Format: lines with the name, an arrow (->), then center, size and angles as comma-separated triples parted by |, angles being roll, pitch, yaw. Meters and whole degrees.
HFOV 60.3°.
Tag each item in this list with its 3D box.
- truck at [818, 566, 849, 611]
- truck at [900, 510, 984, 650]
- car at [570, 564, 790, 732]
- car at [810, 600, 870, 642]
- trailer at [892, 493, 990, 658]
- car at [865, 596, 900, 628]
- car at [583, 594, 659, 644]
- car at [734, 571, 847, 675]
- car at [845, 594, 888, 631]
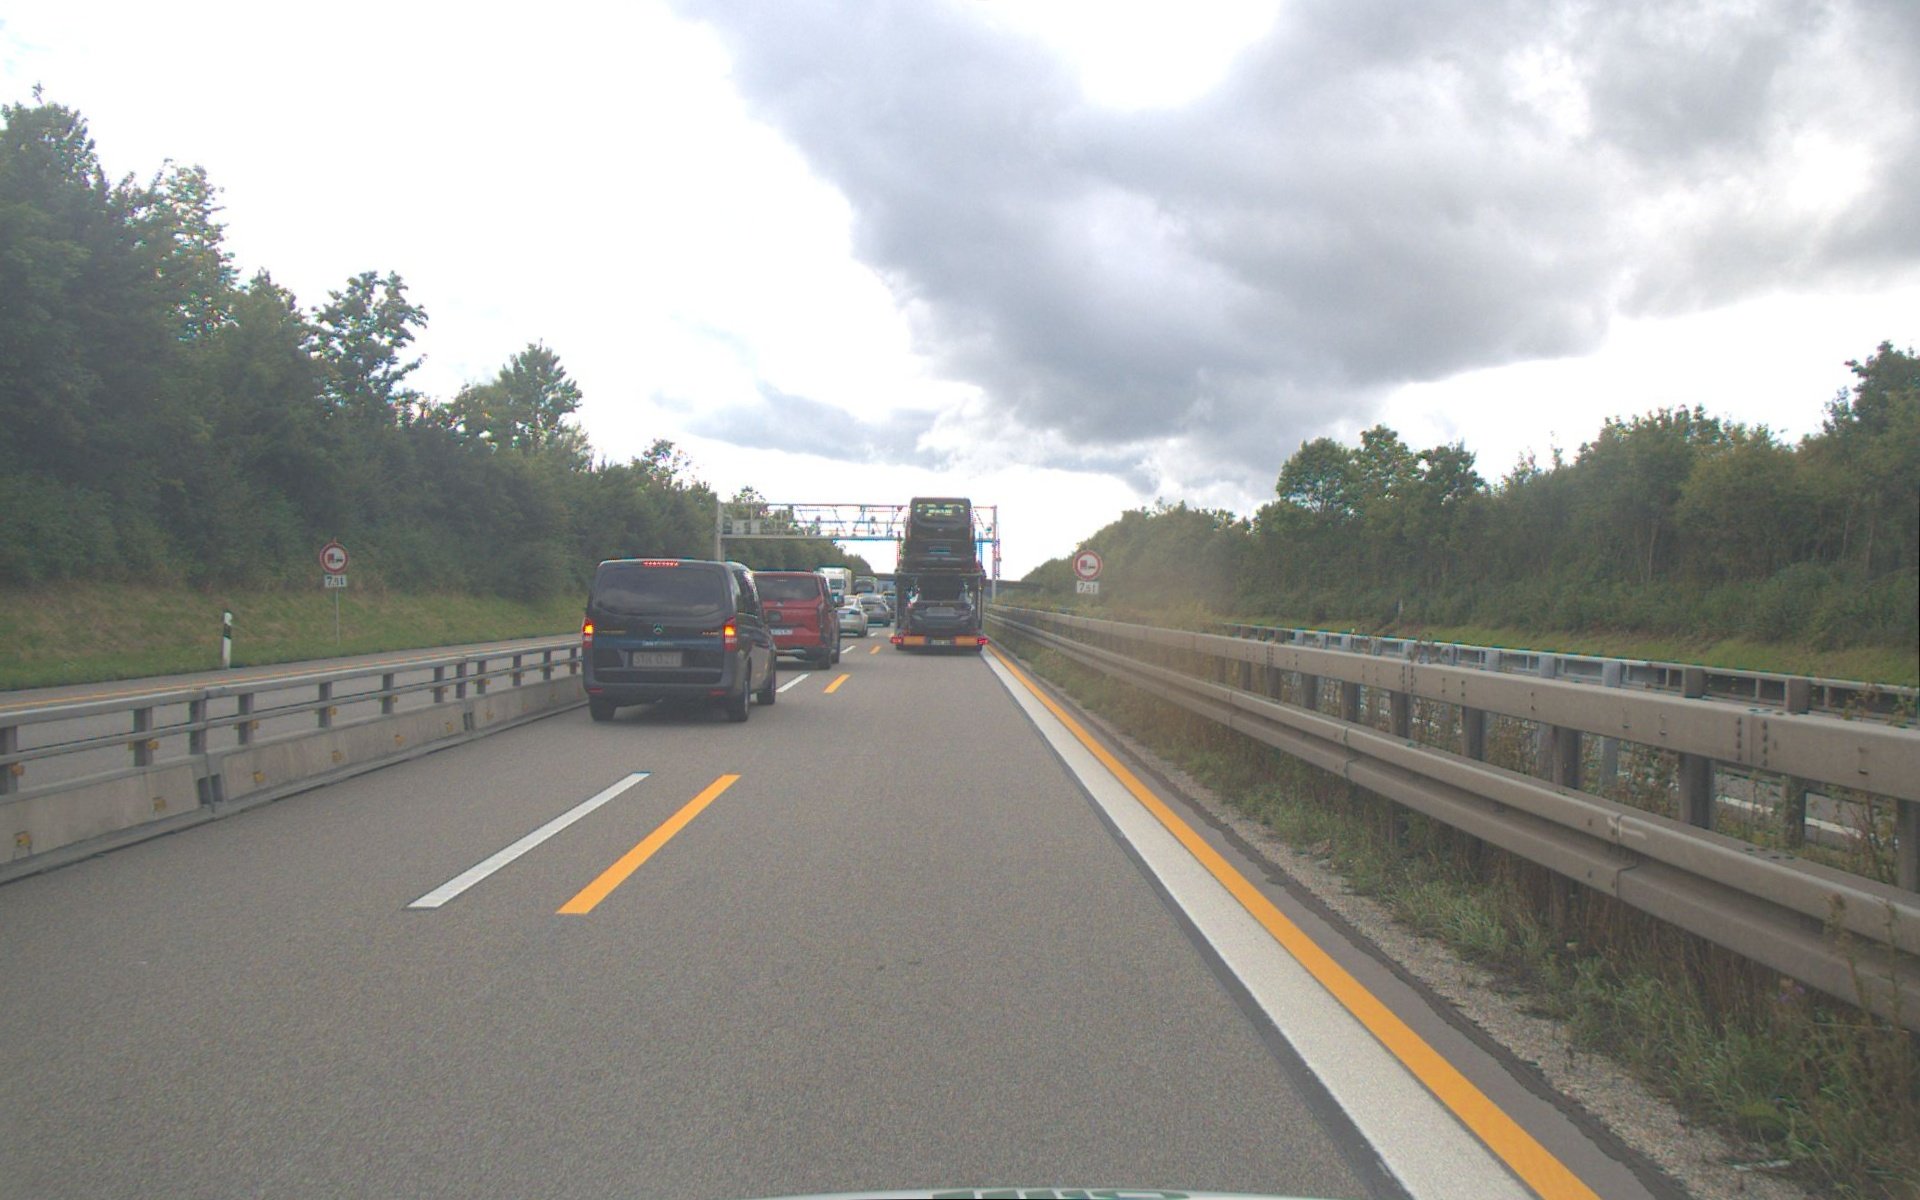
truck -> -12.202, -1.115, 159.816 | 2.546, 4.227, 5.619 | 1, 0, -1
truck -> -0.546, -0.603, 52.458 | 2.464, 4.177, 5.684 | 1, 0, 0
car -> -3.415, 0.540, 21.266 | 1.953, 1.875, 5.608 | 0, 0, -1
car -> -4.392, 0.749, 60.893 | 1.990, 1.456, 4.576 | 0, 0, -2
trailer -> -0.515, -0.612, 47.716 | 2.464, 4.177, 11.112 | 1, 0, 0
car -> -4.511, 0.680, 96.785 | 1.990, 1.788, 4.576 | 0, 0, -2
car -> -10.772, 0.587, 52.764 | 1.661, 1.479, 3.958 | 2, 0, -2
car -> -3.524, 0.461, 35.208 | 1.990, 2.049, 4.577 | 0, 0, -1
car -> -4.562, 0.595, 81.396 | 1.990, 1.788, 4.576 | 0, 0, -2
